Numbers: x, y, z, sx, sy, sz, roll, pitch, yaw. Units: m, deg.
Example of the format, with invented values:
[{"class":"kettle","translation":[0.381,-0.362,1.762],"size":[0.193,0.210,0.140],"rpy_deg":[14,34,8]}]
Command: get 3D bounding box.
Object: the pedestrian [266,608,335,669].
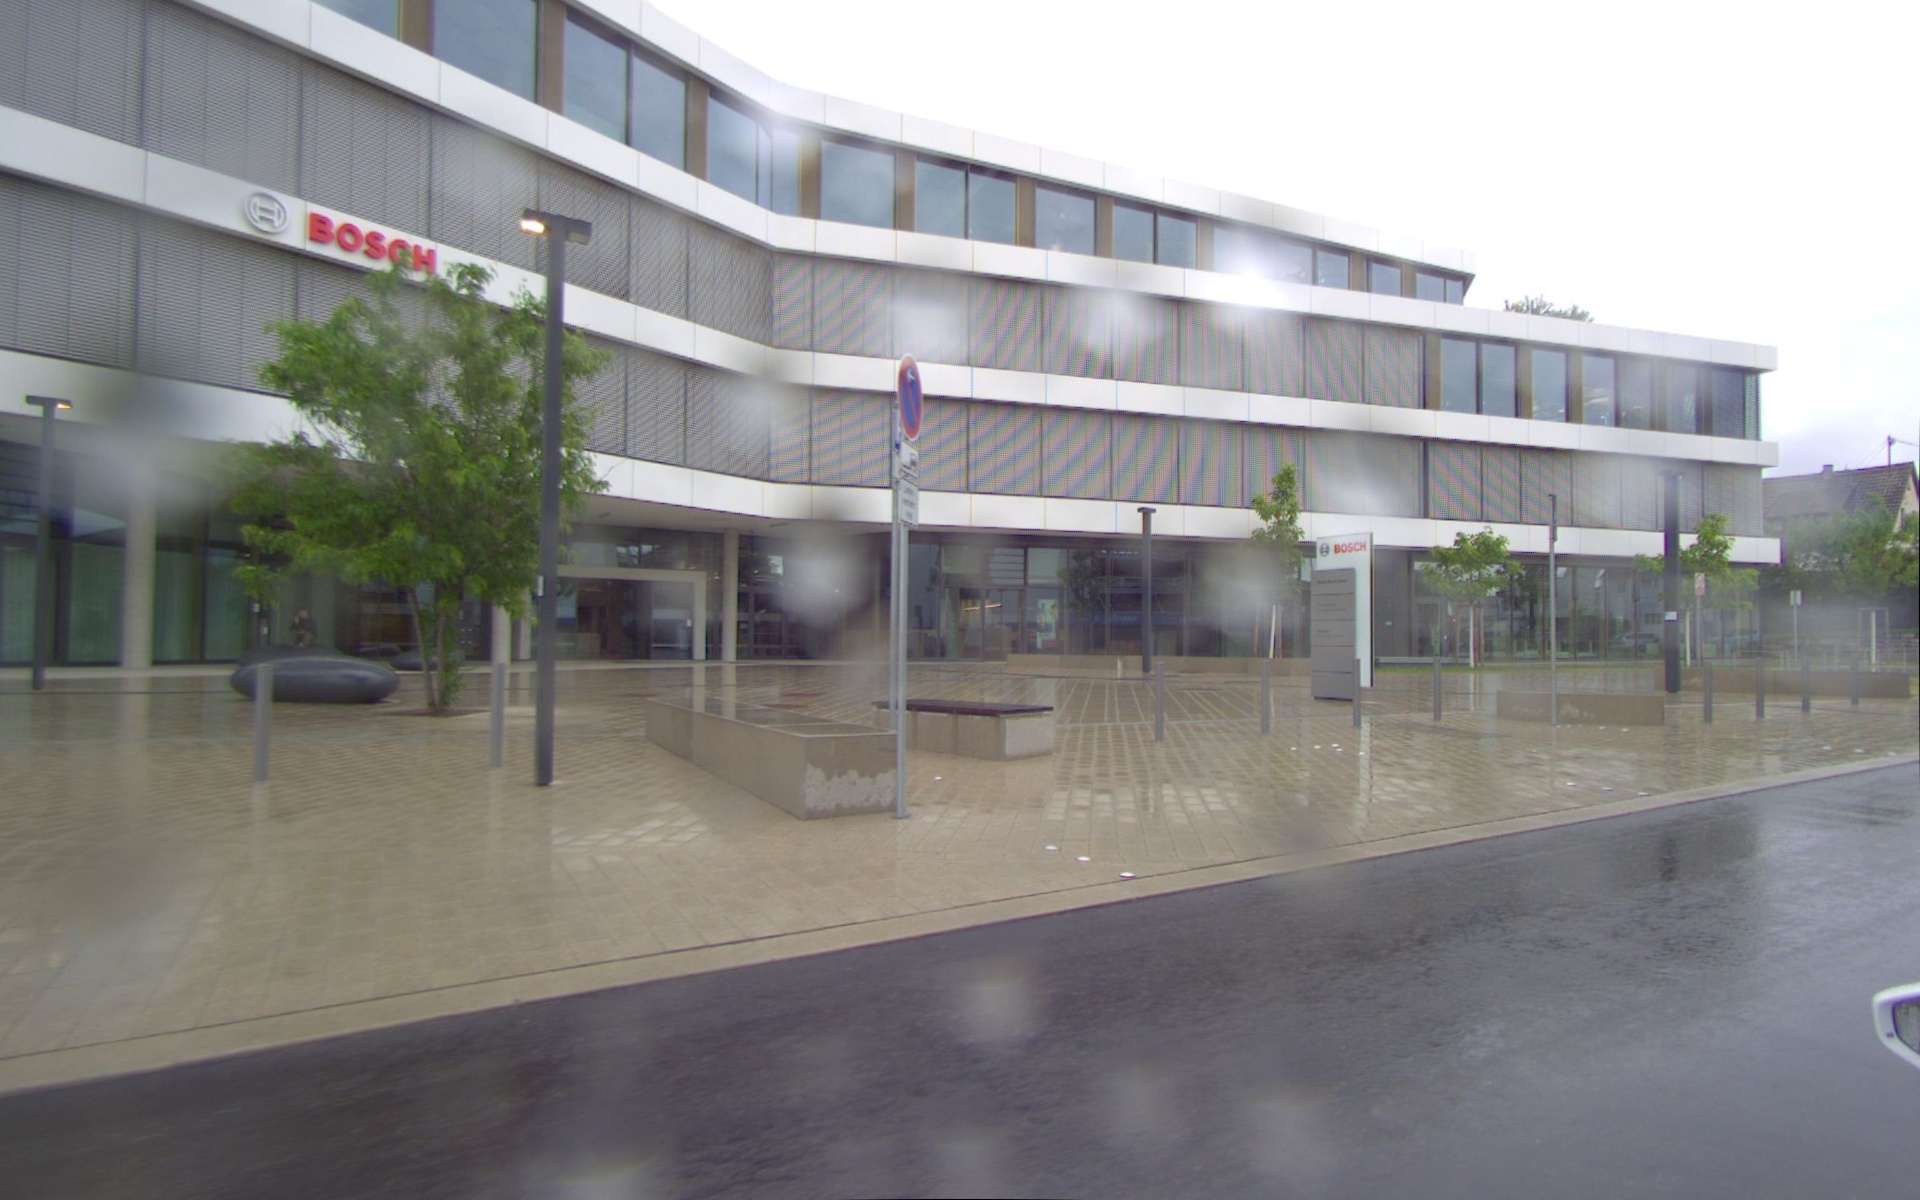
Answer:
[{"class":"pedestrian","translation":[-15.518,0.891,23.638],"size":[0.883,1.332,1.059],"rpy_deg":[4,1,33]}]
